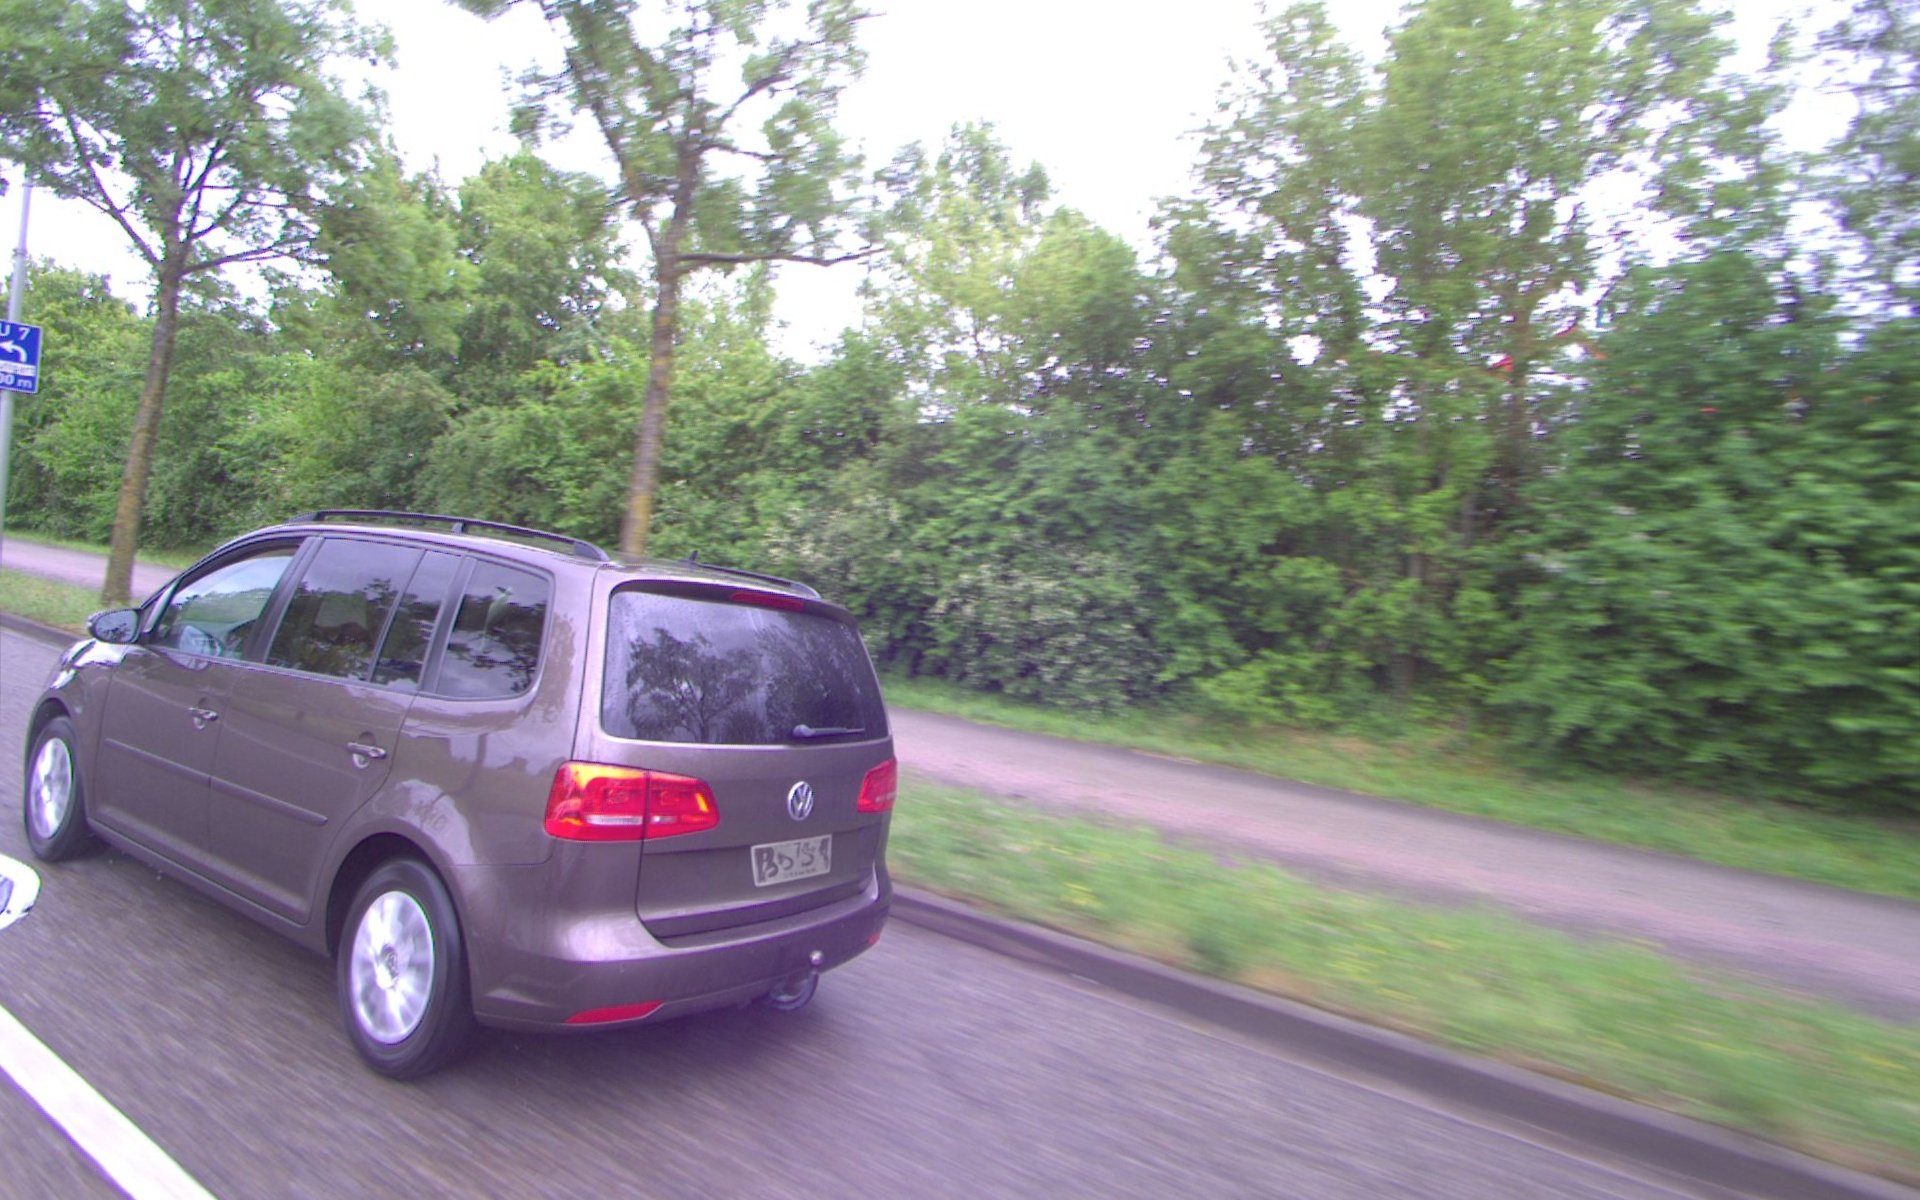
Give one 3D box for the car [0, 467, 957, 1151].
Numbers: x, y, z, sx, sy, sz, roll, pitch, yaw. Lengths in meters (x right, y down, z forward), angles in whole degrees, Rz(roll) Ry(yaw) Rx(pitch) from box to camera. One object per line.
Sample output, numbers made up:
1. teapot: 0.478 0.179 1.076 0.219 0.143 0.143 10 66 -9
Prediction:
1. car: -2.263 0.460 4.298 4.062 1.615 1.717 6 -2 31
